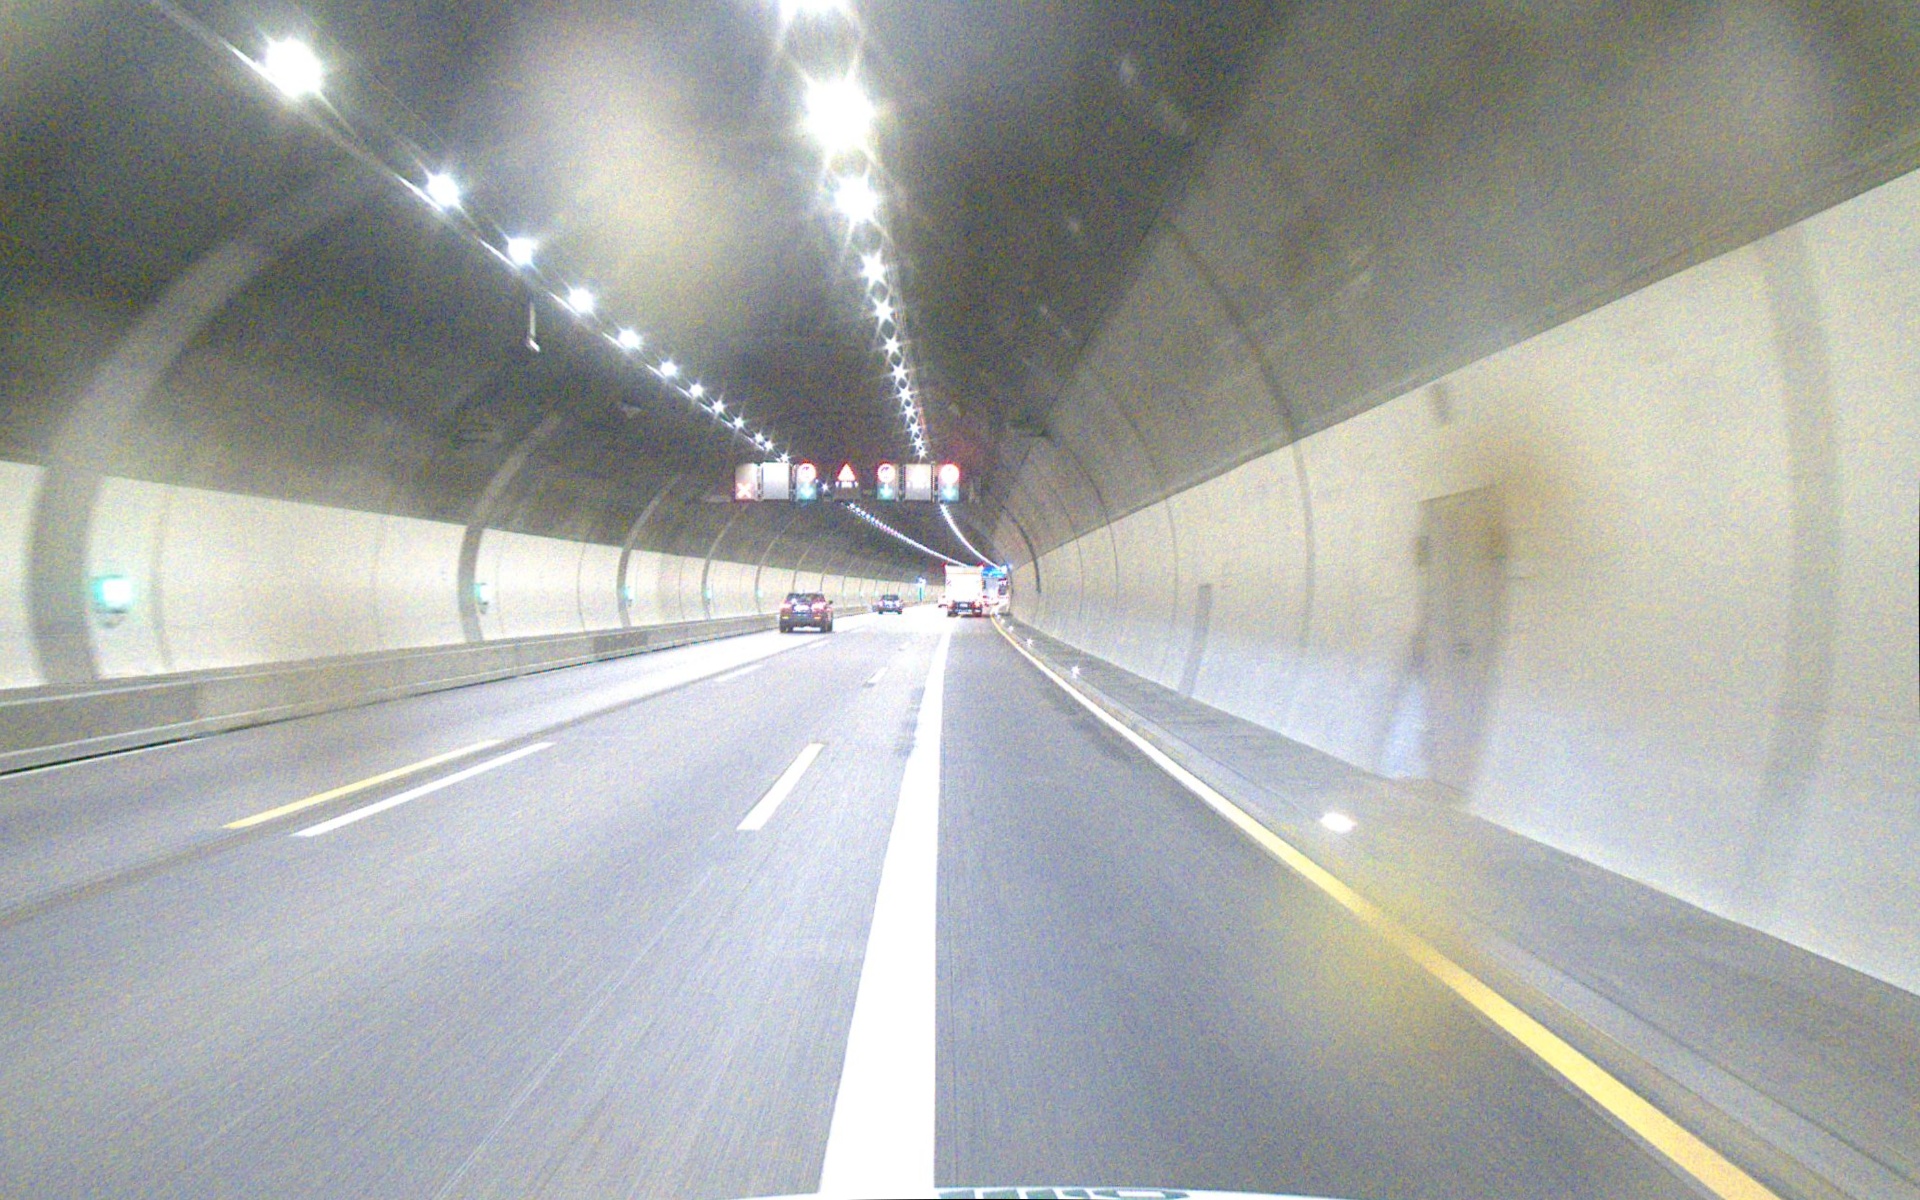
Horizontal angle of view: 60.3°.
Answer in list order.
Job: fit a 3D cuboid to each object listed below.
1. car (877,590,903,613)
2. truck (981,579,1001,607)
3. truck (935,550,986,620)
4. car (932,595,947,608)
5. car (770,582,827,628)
[{"bbox_3d":[-5.122,0.086,121.770,1.776,1.546,4.000,2,2,-1],"label":"car"},{"bbox_3d":[4.682,-0.986,247.742,2.862,4.119,14.031,0,0,1],"label":"truck"},{"bbox_3d":[-0.128,-1.017,121.167,3.212,4.731,17.280,0,0,-2],"label":"truck"},{"bbox_3d":[-2.263,0.134,183.957,1.617,1.297,4.000,2,2,-1],"label":"car"},{"bbox_3d":[-6.193,0.176,63.808,1.775,1.646,4.000,2,0,0],"label":"car"}]
